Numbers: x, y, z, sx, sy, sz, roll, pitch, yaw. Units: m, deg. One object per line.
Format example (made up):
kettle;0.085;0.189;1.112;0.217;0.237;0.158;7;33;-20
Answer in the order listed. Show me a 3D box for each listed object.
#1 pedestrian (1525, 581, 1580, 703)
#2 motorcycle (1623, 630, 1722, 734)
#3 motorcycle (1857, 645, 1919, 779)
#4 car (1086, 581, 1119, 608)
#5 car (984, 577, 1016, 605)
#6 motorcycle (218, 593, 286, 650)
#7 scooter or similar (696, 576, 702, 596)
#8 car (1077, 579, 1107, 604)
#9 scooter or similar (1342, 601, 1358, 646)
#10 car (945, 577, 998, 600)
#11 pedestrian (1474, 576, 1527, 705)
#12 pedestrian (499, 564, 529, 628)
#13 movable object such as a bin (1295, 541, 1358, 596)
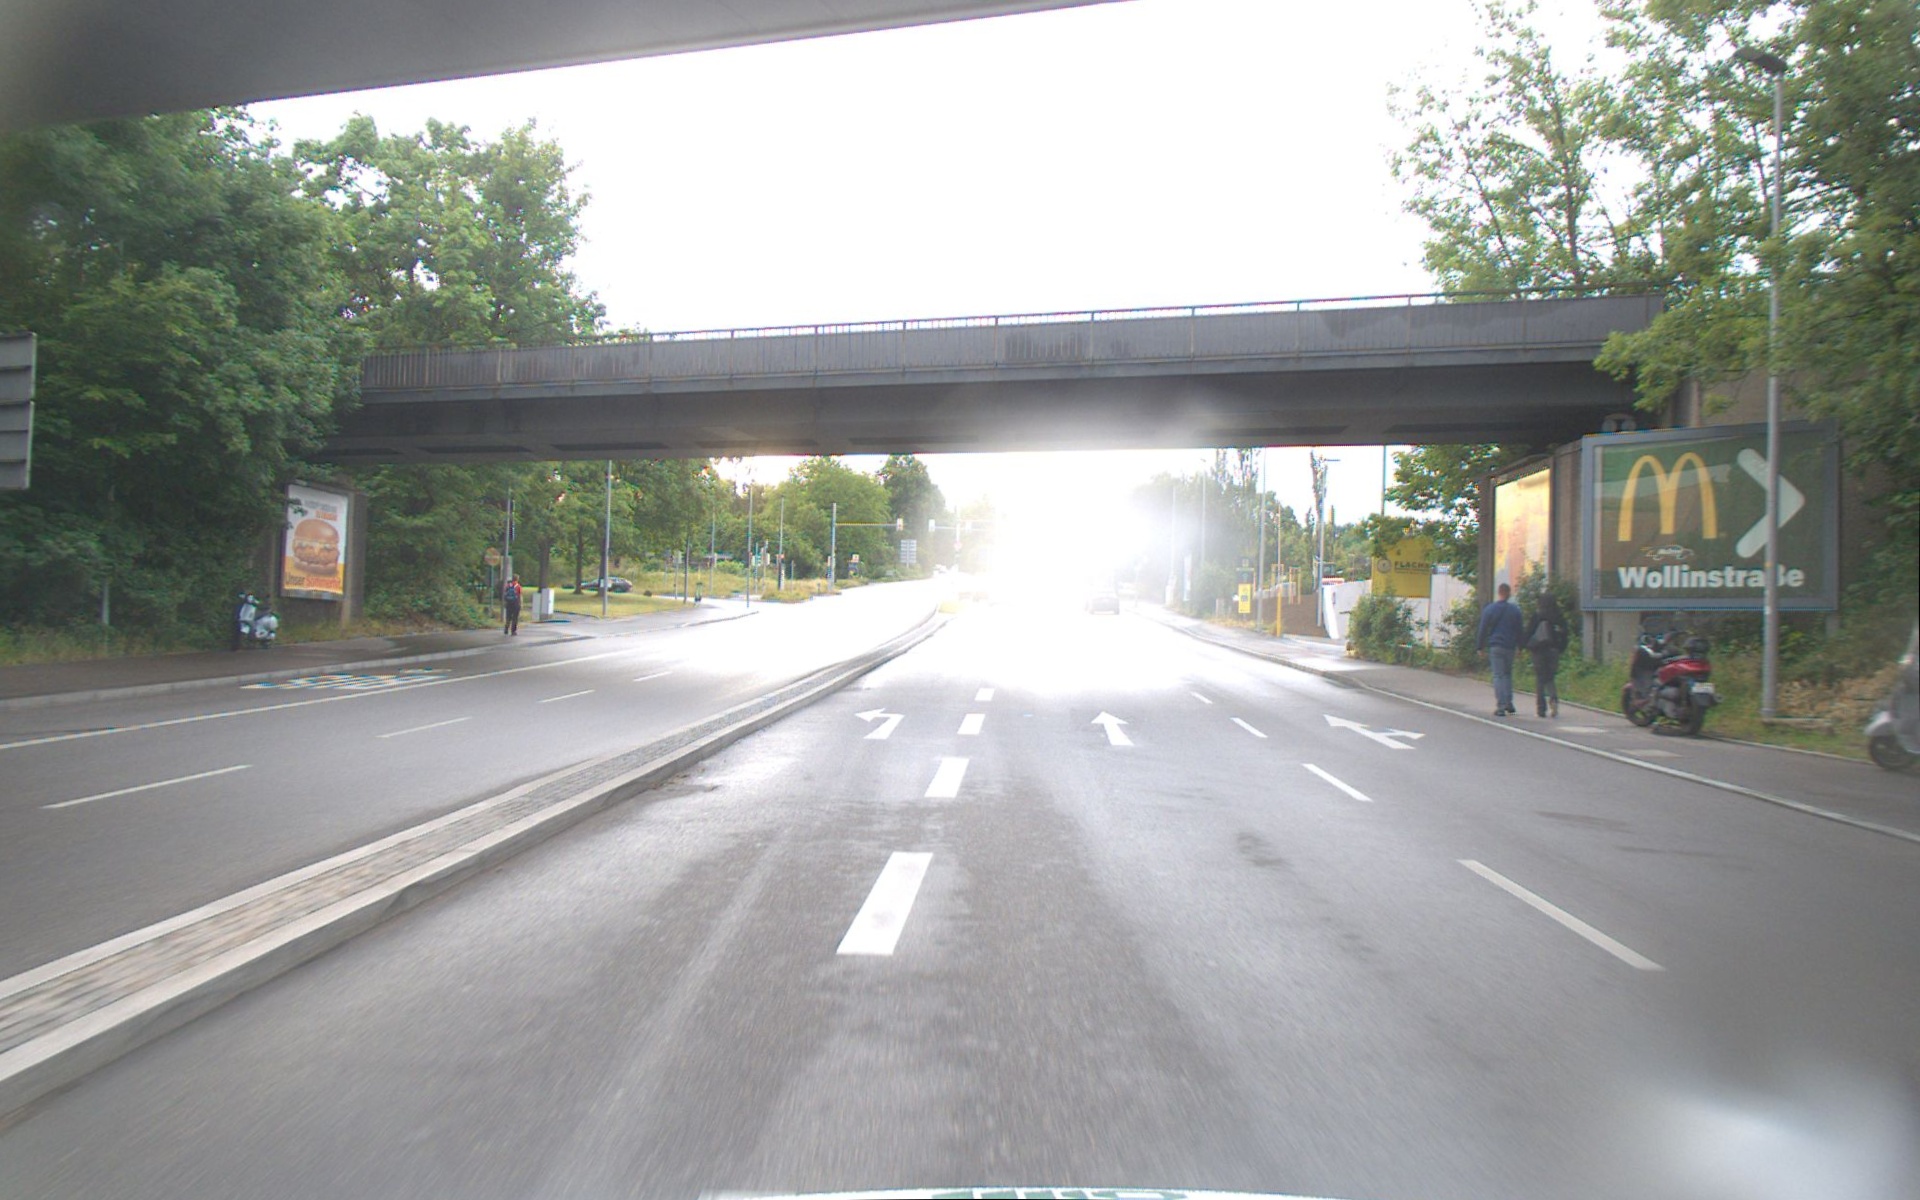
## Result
pedestrian;7.993;0.556;22.321;0.636;1.624;0.579;0;0;14
motorcycle;8.487;0.952;19.768;0.460;1.156;1.819;1;0;2
motorcycle;9.291;1.065;15.371;0.462;1.234;1.936;1;0;-16
car;8.452;-0.333;98.147;1.708;1.495;4.167;2;1;2
car;2.723;-0.631;113.778;2.034;1.748;4.198;3;-1;1
motorcycle;-15.228;0.450;35.629;0.458;1.179;1.933;1;1;6
scooter or similar;-16.582;-0.898;105.071;0.306;1.239;1.304;1;1;-11
car;8.611;-0.562;107.791;1.708;1.495;4.167;2;1;2
scooter or similar;10.241;0.605;43.407;0.250;1.149;1.280;2;0;19
car;0.843;-0.861;127.577;2.141;1.610;4.622;3;-1;-28
pedestrian;7.501;0.554;22.960;0.598;1.751;0.892;0;0;12
pedestrian;-13.193;-0.121;48.939;0.508;1.847;0.800;2;0;12
movable object such as a bin;22.941;-1.995;103.827;2.257;3.333;5.419;1;1;-5
